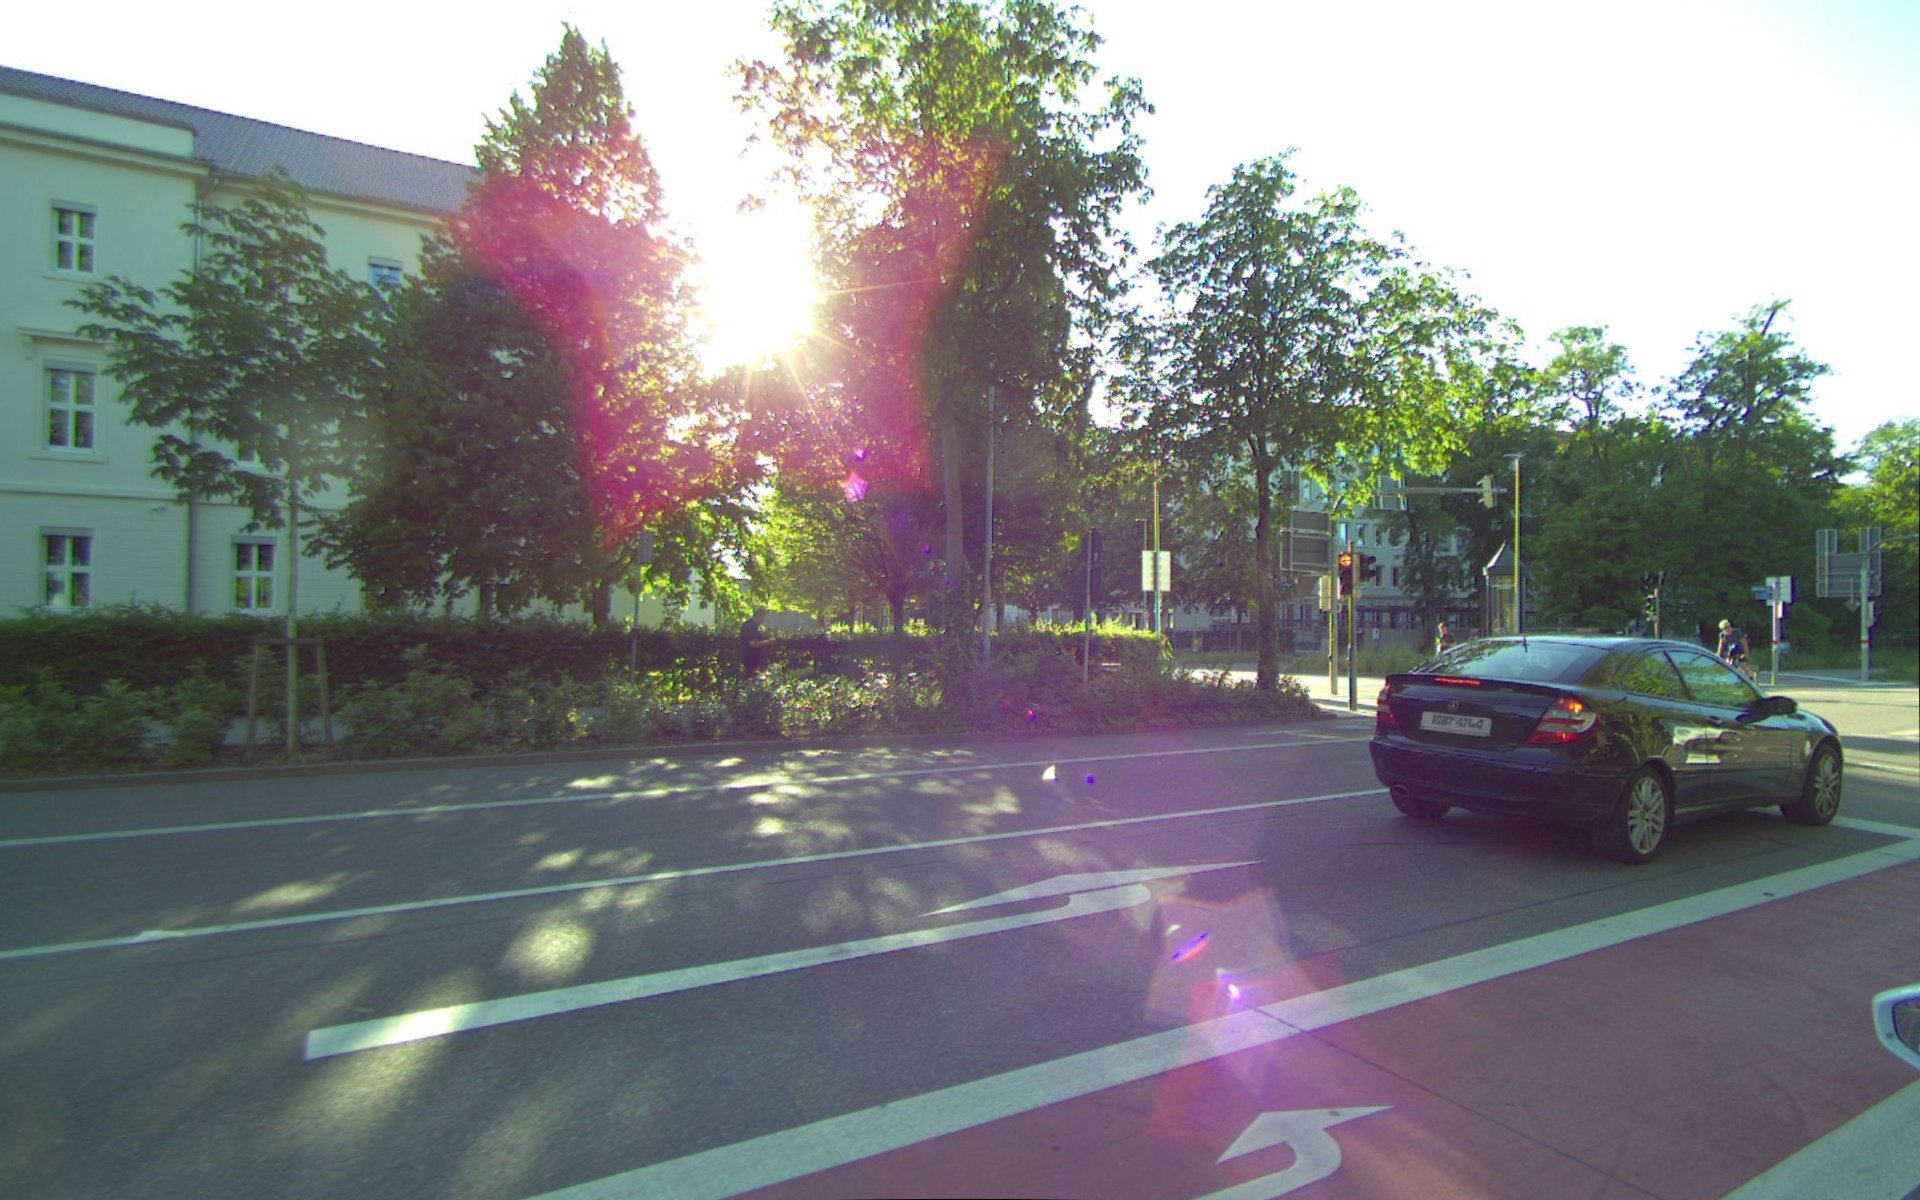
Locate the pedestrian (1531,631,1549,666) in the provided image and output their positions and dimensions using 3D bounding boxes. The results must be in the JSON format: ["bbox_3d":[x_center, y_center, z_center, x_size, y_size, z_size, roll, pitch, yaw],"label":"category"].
[{"bbox_3d":[27.808,2.323,48.155,0.442,1.664,0.624,2,-2,-39],"label":"pedestrian"}]

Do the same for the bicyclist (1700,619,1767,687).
[{"bbox_3d":[18.949,1.296,24.617,1.173,1.629,0.872,1,-2,-28],"label":"bicyclist"}]

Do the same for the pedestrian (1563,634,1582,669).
[{"bbox_3d":[28.208,2.349,46.239,0.442,1.601,0.624,2,-2,-39],"label":"pedestrian"}]

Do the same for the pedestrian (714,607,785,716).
[{"bbox_3d":[-3.517,1.011,16.761,0.956,1.743,0.831,1,-2,-28],"label":"pedestrian"}]

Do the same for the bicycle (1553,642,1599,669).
[{"bbox_3d":[28.395,2.568,46.338,0.288,1.163,1.849,2,-1,-35],"label":"bicycle"}]

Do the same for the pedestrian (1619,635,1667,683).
[{"bbox_3d":[23.813,2.044,35.031,0.991,1.624,1.080,1,-2,-36],"label":"pedestrian"}]

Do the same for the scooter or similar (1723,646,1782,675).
[{"bbox_3d":[33.385,2.528,42.342,1.882,1.139,0.713,1,-1,3],"label":"scooter or similar"}]

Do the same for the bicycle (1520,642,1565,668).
[{"bbox_3d":[27.771,2.593,47.891,0.438,1.163,1.849,2,-1,-35],"label":"bicycle"}]

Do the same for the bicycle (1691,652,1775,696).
[{"bbox_3d":[18.951,1.792,24.603,2.472,1.002,0.661,1,-2,-28],"label":"bicycle"}]

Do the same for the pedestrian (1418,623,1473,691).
[{"bbox_3d":[14.937,1.746,30.931,1.174,2.040,0.992,2,-1,-24],"label":"pedestrian"}]

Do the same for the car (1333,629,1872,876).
[{"bbox_3d":[4.945,0.950,7.604,4.214,1.423,1.697,1,-2,-30],"label":"car"}]
